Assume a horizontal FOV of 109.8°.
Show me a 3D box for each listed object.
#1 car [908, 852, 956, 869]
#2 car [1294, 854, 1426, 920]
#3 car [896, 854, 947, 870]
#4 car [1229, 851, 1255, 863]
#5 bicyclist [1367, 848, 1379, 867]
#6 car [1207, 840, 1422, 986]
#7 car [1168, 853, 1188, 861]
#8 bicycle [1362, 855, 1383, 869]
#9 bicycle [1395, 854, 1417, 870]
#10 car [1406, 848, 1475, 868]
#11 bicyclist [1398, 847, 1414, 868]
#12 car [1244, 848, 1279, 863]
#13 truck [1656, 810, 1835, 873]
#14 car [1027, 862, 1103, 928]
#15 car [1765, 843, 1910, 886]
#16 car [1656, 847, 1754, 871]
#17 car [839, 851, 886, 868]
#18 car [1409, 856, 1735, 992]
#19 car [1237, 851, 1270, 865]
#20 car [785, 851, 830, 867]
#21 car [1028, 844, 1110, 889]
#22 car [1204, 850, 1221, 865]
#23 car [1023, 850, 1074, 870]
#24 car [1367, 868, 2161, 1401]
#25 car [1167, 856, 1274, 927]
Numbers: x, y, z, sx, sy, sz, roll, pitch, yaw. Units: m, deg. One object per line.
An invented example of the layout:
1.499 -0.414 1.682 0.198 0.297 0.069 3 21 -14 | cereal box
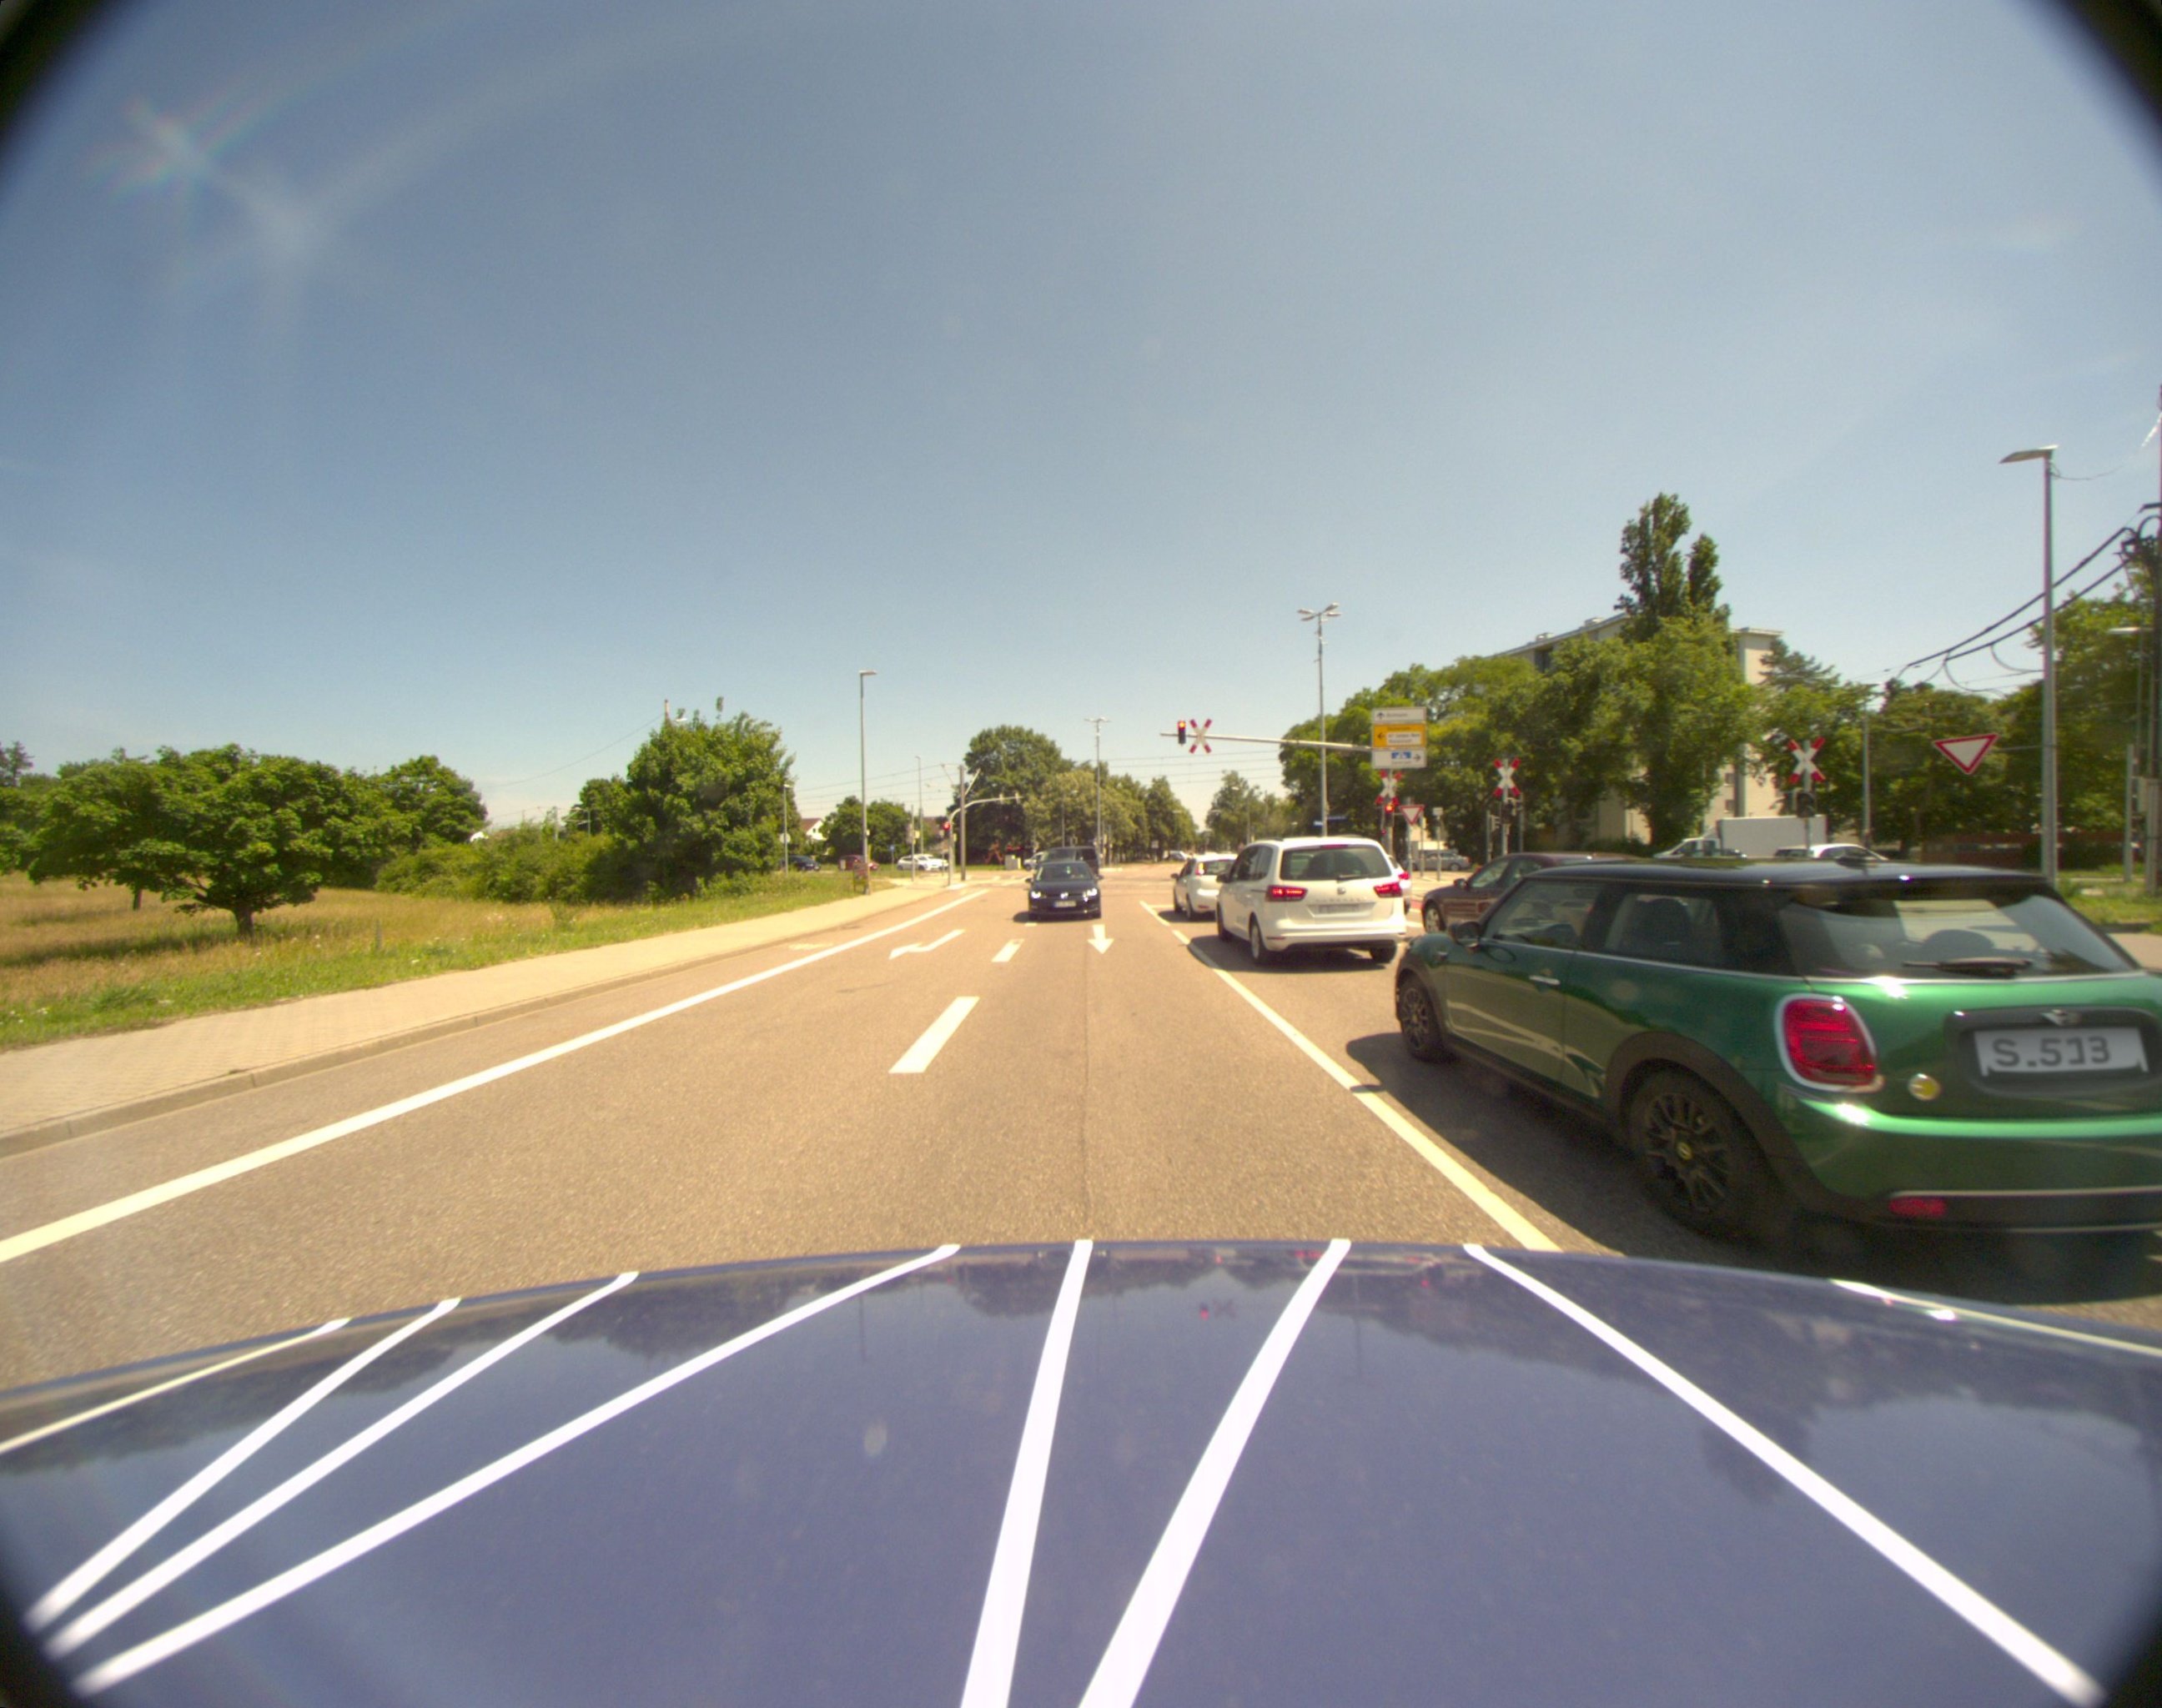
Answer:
-14.239 0.655 72.536 4.400 1.567 1.879 -1 -1 32 | car
6.834 0.731 19.141 1.795 1.447 4.412 0 0 1 | car
-14.480 0.741 68.767 4.400 1.380 1.879 -1 -1 32 | car
22.640 0.383 106.875 3.487 1.545 1.586 -2 -2 8 | car
22.573 0.275 58.650 0.616 1.460 0.628 -2 3 -14 | bicyclist
3.218 0.714 11.589 1.816 1.713 4.831 -1 0 1 | car
17.568 0.545 137.780 3.487 1.467 1.586 -2 -2 8 | car
22.558 0.598 58.773 0.616 1.057 1.803 -2 2 -14 | bicycle
24.705 0.587 57.789 0.616 1.057 1.803 -2 3 -14 | bicycle
25.208 0.297 53.268 4.203 1.416 1.853 -1 0 32 | car
24.714 0.230 57.806 0.648 1.536 0.908 -2 3 -14 | bicyclist
19.624 0.161 82.835 3.488 1.419 1.586 -2 -2 6 | car
39.346 -0.638 45.404 7.690 3.511 2.594 -1 -2 32 | truck
-0.421 0.978 19.639 1.709 1.396 4.053 -2 0 -2 | car
28.352 0.432 28.536 4.258 1.536 1.746 1 -2 -11 | car
34.773 0.294 42.464 3.989 1.279 1.751 -1 -2 29 | car
-20.804 0.571 72.341 4.400 1.567 1.879 -1 -1 32 | car
6.363 0.780 10.553 1.764 1.448 4.285 -1 0 0 | car
19.557 0.472 86.272 3.487 1.419 1.586 -2 -2 8 | car
-27.491 0.501 76.252 4.400 1.567 1.879 -1 -1 32 | car
-0.449 0.526 35.712 1.938 1.920 4.854 -2 0 24 | car
14.787 0.408 85.273 1.808 1.707 4.347 0 -1 11 | car
-2.985 0.547 69.606 4.381 1.782 1.901 -1 -2 30 | car
3.158 0.870 4.211 1.727 1.454 3.990 -1 0 2 | car
3.231 0.815 18.329 1.772 1.429 3.960 -2 0 0 | car
